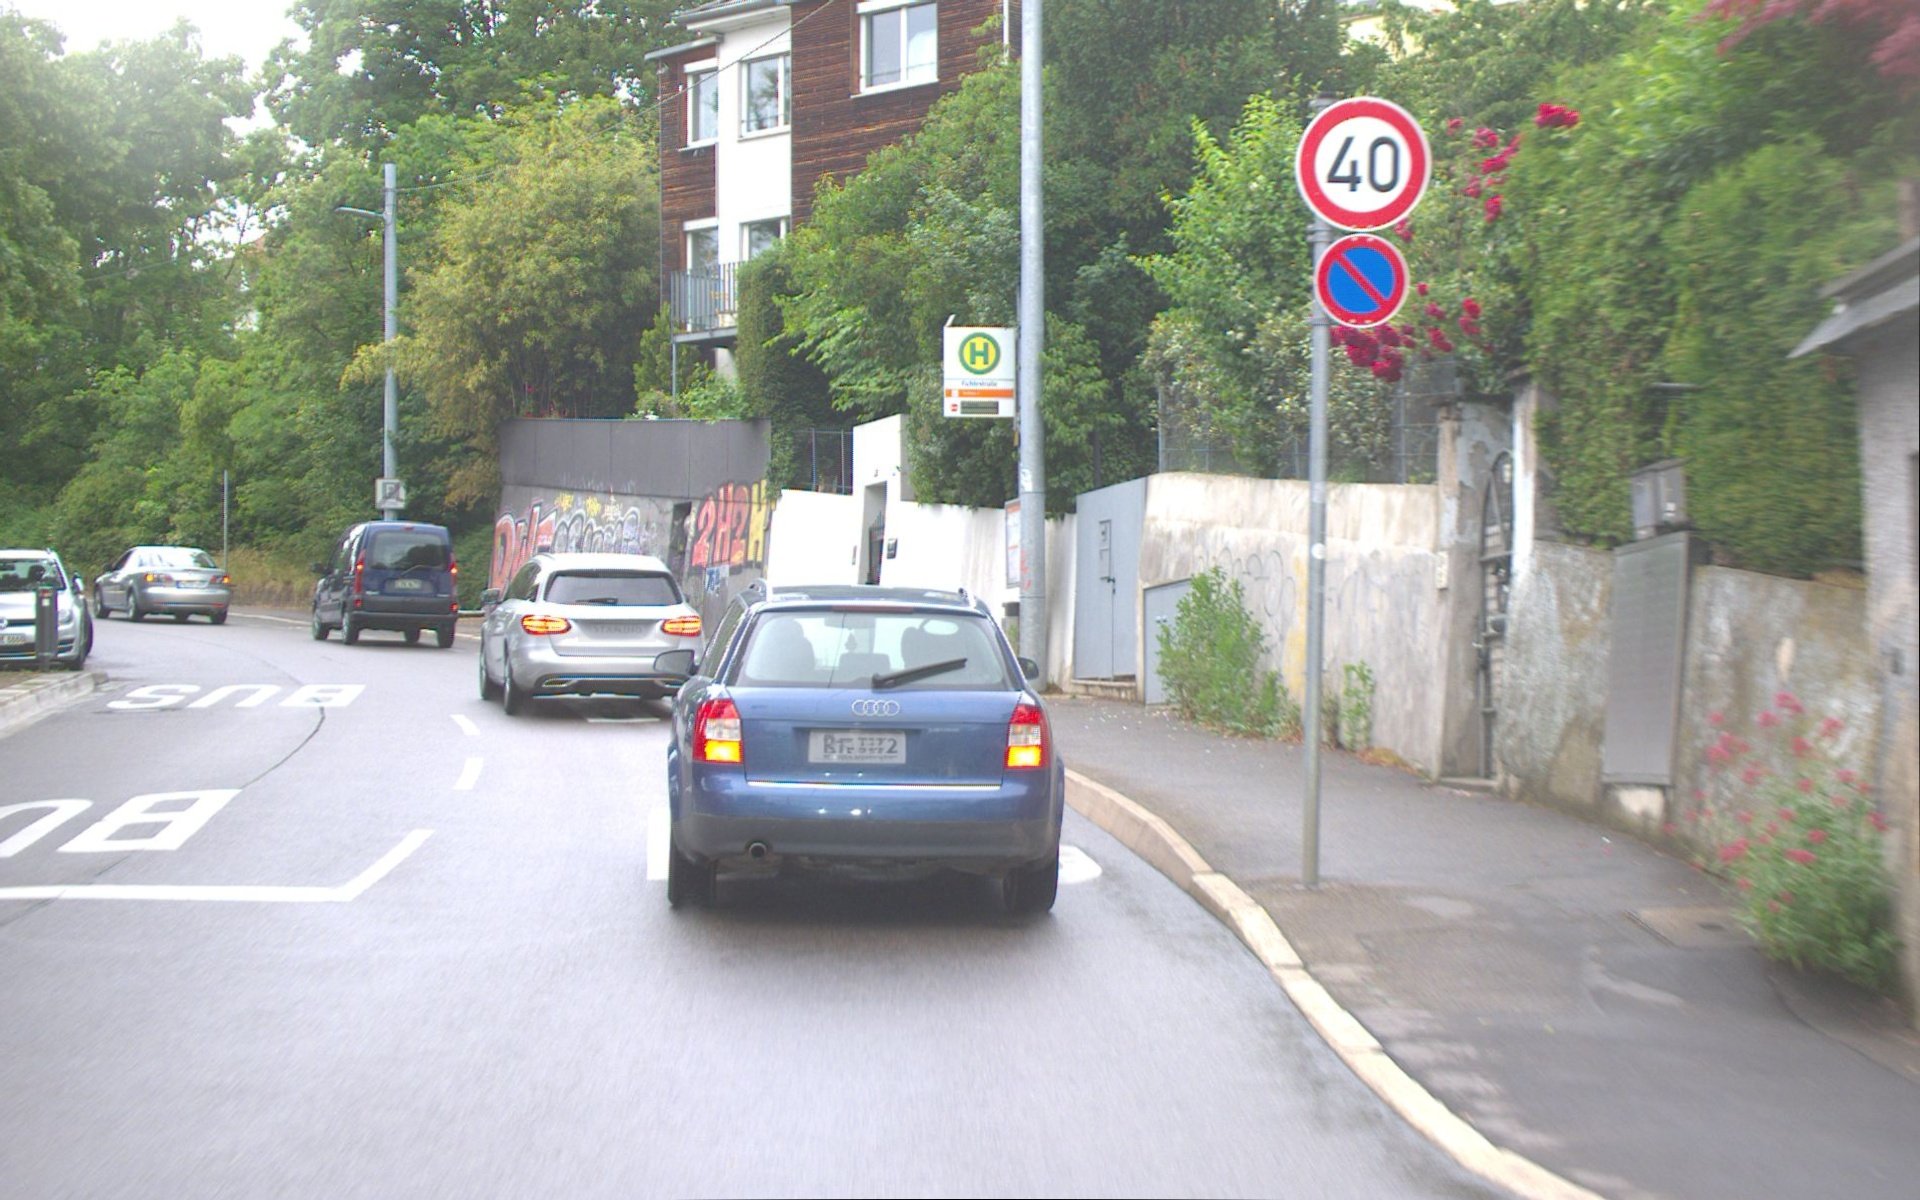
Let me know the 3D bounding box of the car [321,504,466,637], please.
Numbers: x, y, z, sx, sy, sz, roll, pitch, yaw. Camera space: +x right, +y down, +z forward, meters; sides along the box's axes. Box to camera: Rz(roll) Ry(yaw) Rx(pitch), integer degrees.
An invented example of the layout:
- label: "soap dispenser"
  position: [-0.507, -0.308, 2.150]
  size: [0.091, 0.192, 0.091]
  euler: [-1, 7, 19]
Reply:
- label: "car"
  position: [-8.548, -0.480, 51.627]
  size: [1.730, 1.888, 4.057]
  euler: [-1, 2, -15]

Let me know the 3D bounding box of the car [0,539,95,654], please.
- label: "car"
  position: [-12.566, -0.079, 46.036]
  size: [1.673, 1.422, 4.001]
  euler: [-1, 2, -17]

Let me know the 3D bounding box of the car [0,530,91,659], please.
- label: "car"
  position: [-11.301, -0.097, 41.074]
  size: [1.673, 1.422, 4.001]
  euler: [-1, 2, -13]

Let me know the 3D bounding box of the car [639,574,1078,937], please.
- label: "car"
  position: [-0.456, 0.630, 16.250]
  size: [1.777, 1.434, 4.000]
  euler: [2, 1, -1]

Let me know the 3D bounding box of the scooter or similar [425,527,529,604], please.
- label: "scooter or similar"
  position: [-9.338, -0.662, 66.453]
  size: [1.833, 1.310, 0.600]
  euler: [5, -3, -13]

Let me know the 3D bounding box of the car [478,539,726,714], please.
- label: "car"
  position: [-3.419, 0.199, 32.136]
  size: [1.908, 1.383, 4.352]
  euler: [3, 1, -10]

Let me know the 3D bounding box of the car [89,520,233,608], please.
- label: "car"
  position: [-15.019, -0.698, 64.469]
  size: [1.766, 1.564, 4.031]
  euler: [-2, 2, -26]

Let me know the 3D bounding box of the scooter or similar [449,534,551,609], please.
- label: "scooter or similar"
  position: [-9.018, -0.556, 67.388]
  size: [1.833, 1.310, 0.600]
  euler: [5, -3, -13]

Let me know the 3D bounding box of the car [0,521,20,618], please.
- label: "car"
  position: [-15.279, -0.477, 52.171]
  size: [1.673, 1.422, 4.001]
  euler: [-1, 2, -19]
